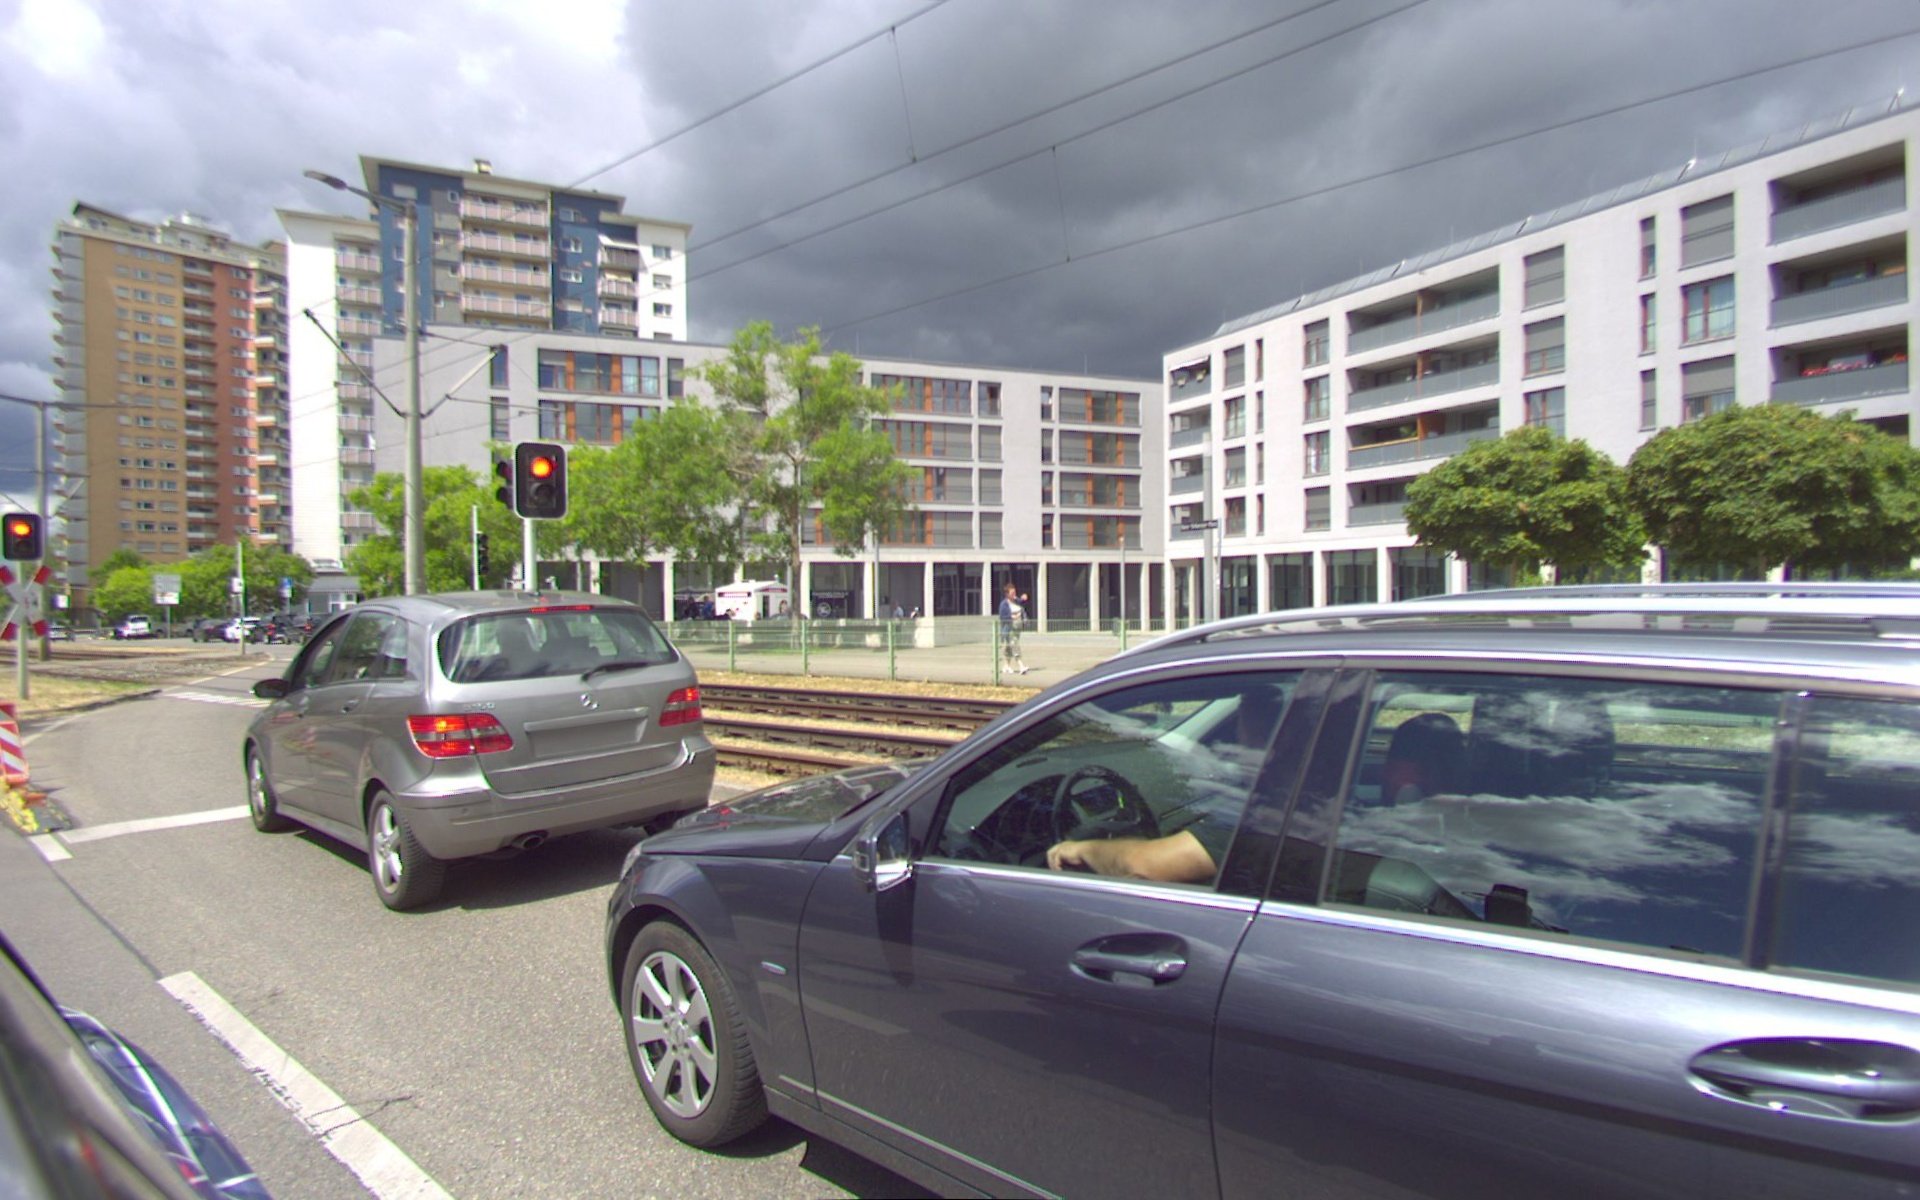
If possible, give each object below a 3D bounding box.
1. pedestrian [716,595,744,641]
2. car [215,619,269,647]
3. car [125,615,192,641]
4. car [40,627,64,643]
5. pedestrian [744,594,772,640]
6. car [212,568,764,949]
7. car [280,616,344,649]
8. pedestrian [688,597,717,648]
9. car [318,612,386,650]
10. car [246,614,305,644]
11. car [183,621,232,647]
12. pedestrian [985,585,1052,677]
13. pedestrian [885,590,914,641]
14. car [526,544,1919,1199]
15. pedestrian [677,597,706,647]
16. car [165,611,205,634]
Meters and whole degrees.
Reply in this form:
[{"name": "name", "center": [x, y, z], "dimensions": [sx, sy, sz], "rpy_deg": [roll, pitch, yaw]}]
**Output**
[{"name": "pedestrian", "center": [-10.311, 0.798, 45.358], "dimensions": [0.906, 2.029, 0.728], "rpy_deg": [-1, 0, 24]}, {"name": "car", "center": [-42.885, 1.964, 60.425], "dimensions": [3.802, 1.551, 1.758], "rpy_deg": [-1, 1, 41]}, {"name": "car", "center": [-65.078, 2.256, 82.275], "dimensions": [1.856, 1.940, 4.495], "rpy_deg": [-2, 0, 1]}, {"name": "car", "center": [-92.441, 3.517, 103.018], "dimensions": [1.756, 1.511, 3.807], "rpy_deg": [-2, 1, -43]}, {"name": "pedestrian", "center": [-8.991, 0.762, 45.000], "dimensions": [0.906, 2.029, 0.728], "rpy_deg": [-1, 0, 24]}, {"name": "car", "center": [-3.272, 0.710, 6.562], "dimensions": [4.177, 1.672, 1.837], "rpy_deg": [-1, 0, 44]}, {"name": "car", "center": [-33.437, 1.669, 52.218], "dimensions": [3.803, 1.551, 1.868], "rpy_deg": [-1, 1, 43]}, {"name": "pedestrian", "center": [-8.629, 0.746, 33.956], "dimensions": [0.538, 1.666, 0.739], "rpy_deg": [-1, 0, 41]}, {"name": "car", "center": [-28.795, 1.441, 47.892], "dimensions": [1.867, 1.635, 3.806], "rpy_deg": [-2, 1, -45]}, {"name": "car", "center": [-38.020, 1.580, 56.175], "dimensions": [3.802, 1.551, 1.758], "rpy_deg": [-1, 1, 41]}, {"name": "car", "center": [-48.075, 2.146, 64.630], "dimensions": [3.802, 1.551, 1.758], "rpy_deg": [-1, 1, 41]}, {"name": "pedestrian", "center": [1.069, 0.556, 18.509], "dimensions": [0.937, 1.625, 0.746], "rpy_deg": [-1, 0, 41]}, {"name": "pedestrian", "center": [-1.922, 0.495, 32.347], "dimensions": [0.744, 1.623, 0.535], "rpy_deg": [-2, 0, 19]}, {"name": "car", "center": [0.922, 0.667, 2.276], "dimensions": [4.464, 1.456, 1.791], "rpy_deg": [-1, 0, 42]}, {"name": "pedestrian", "center": [-9.155, 0.745, 34.480], "dimensions": [0.538, 1.666, 0.739], "rpy_deg": [-1, 0, 41]}, {"name": "car", "center": [-61.278, 1.791, 79.980], "dimensions": [3.802, 1.672, 1.758], "rpy_deg": [-1, 0, 41]}]
